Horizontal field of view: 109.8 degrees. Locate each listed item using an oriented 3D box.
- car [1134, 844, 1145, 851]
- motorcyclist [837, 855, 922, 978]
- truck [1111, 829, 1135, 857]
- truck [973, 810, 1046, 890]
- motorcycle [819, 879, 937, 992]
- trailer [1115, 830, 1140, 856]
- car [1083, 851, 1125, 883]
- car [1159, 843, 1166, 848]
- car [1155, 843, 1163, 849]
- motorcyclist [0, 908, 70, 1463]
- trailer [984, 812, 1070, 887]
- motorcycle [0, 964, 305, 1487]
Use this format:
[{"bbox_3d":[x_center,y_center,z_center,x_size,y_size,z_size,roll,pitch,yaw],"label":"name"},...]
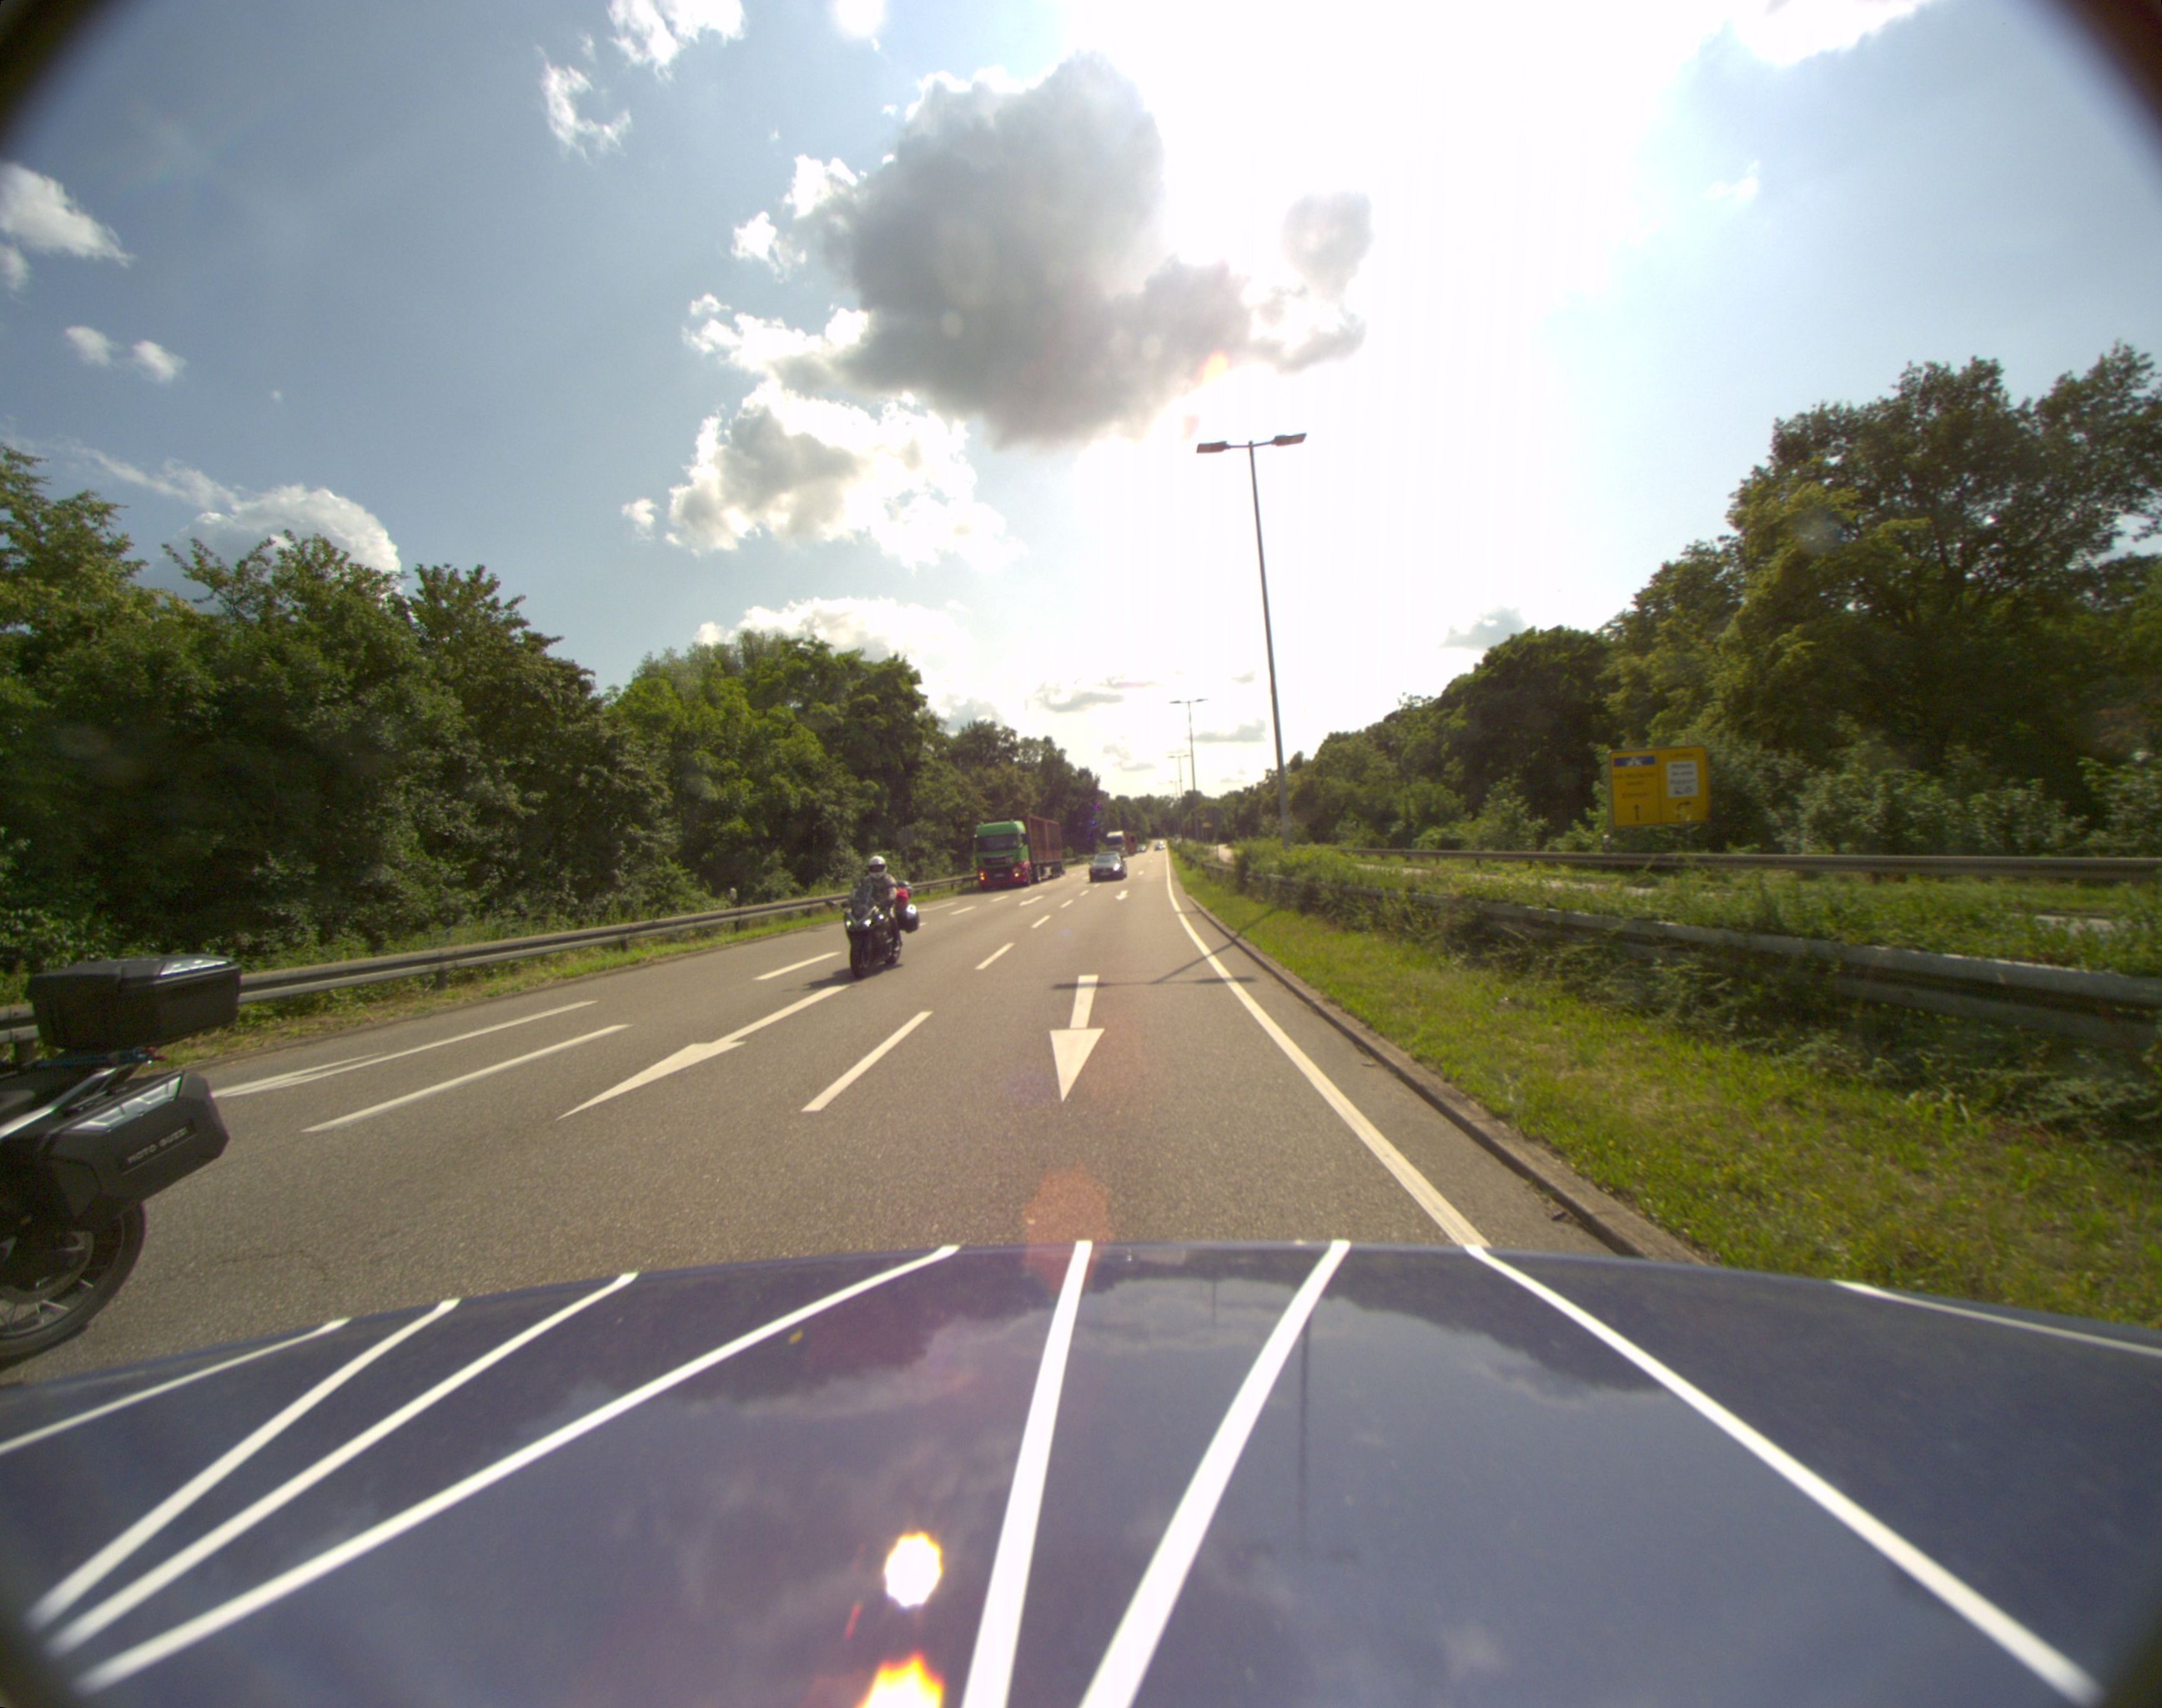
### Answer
[{"bbox_3d":[12.310,-1.400,160.617,1.997,1.330,4.002,-3,0,8],"label":"car"},{"bbox_3d":[-2.926,0.883,11.134,0.867,1.690,0.895,-3,0,4],"label":"motorcyclist"},{"bbox_3d":[6.637,-1.678,118.462,2.689,3.948,7.387,-5,0,9],"label":"truck"},{"bbox_3d":[-3.796,-0.203,41.784,2.590,3.871,6.063,-5,0,5],"label":"truck"},{"bbox_3d":[-2.908,1.119,11.214,0.867,1.381,2.371,-3,0,4],"label":"motorcycle"},{"bbox_3d":[7.815,-1.787,125.942,2.693,3.948,12.399,-5,0,9],"label":"trailer"},{"bbox_3d":[1.245,0.636,39.136,1.735,1.468,4.049,-3,0,7],"label":"car"},{"bbox_3d":[21.792,-2.281,202.206,1.796,1.368,4.002,-3,0,7],"label":"car"},{"bbox_3d":[18.169,-1.788,177.370,1.796,1.368,4.002,-3,0,7],"label":"car"},{"bbox_3d":[-3.610,0.978,1.779,0.939,1.581,1.083,-3,0,1],"label":"motorcyclist"},{"bbox_3d":[-3.079,-0.278,48.672,2.590,3.871,14.507,-5,0,6],"label":"trailer"},{"bbox_3d":[-3.600,1.147,1.828,0.939,1.375,2.370,-3,0,1],"label":"motorcycle"}]
